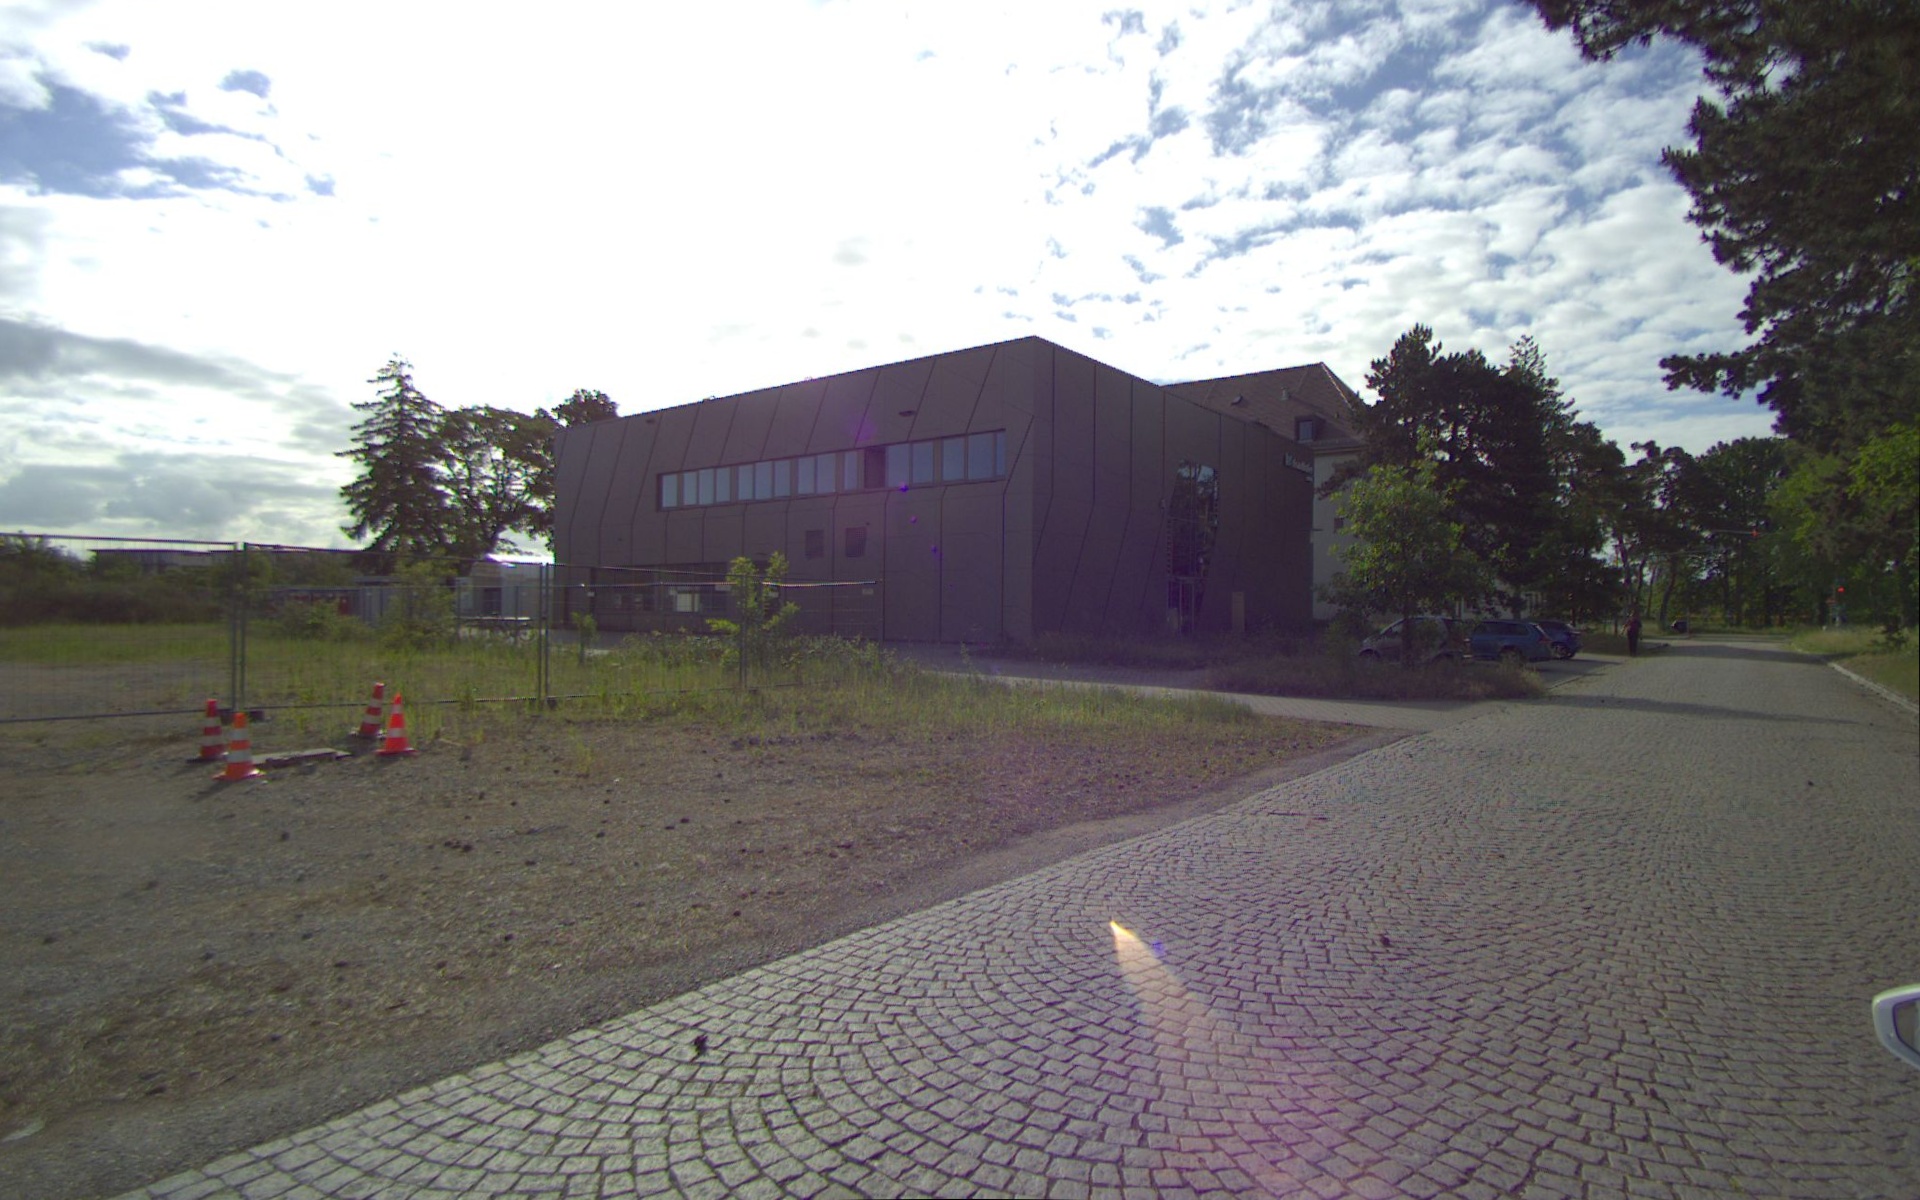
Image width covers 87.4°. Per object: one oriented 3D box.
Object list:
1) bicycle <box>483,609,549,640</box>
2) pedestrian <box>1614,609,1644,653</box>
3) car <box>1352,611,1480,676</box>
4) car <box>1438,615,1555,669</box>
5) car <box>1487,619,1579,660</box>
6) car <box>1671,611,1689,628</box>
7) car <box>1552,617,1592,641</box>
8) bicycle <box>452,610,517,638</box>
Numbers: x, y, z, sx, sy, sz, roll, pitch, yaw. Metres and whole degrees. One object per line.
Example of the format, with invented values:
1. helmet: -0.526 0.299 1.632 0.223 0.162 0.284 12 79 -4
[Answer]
1. bicycle: -16.567 0.913 37.548 0.931 1.101 2.062 0 0 36
2. pedestrian: 28.705 1.325 43.110 0.941 1.868 0.955 0 0 25
3. car: 11.778 1.095 26.008 2.730 1.570 1.417 0 -1 43
4. car: 16.735 1.279 31.369 3.041 1.477 1.487 3 1 34
5. car: 22.180 1.501 38.915 3.041 1.469 1.488 0 -1 33
6. car: 87.548 2.380 122.113 1.677 2.040 3.983 0 -1 38
7. car: 43.658 2.053 71.659 1.969 1.639 3.983 0 -1 38
8. bicycle: -18.371 0.920 38.852 0.931 1.058 2.062 0 0 36
